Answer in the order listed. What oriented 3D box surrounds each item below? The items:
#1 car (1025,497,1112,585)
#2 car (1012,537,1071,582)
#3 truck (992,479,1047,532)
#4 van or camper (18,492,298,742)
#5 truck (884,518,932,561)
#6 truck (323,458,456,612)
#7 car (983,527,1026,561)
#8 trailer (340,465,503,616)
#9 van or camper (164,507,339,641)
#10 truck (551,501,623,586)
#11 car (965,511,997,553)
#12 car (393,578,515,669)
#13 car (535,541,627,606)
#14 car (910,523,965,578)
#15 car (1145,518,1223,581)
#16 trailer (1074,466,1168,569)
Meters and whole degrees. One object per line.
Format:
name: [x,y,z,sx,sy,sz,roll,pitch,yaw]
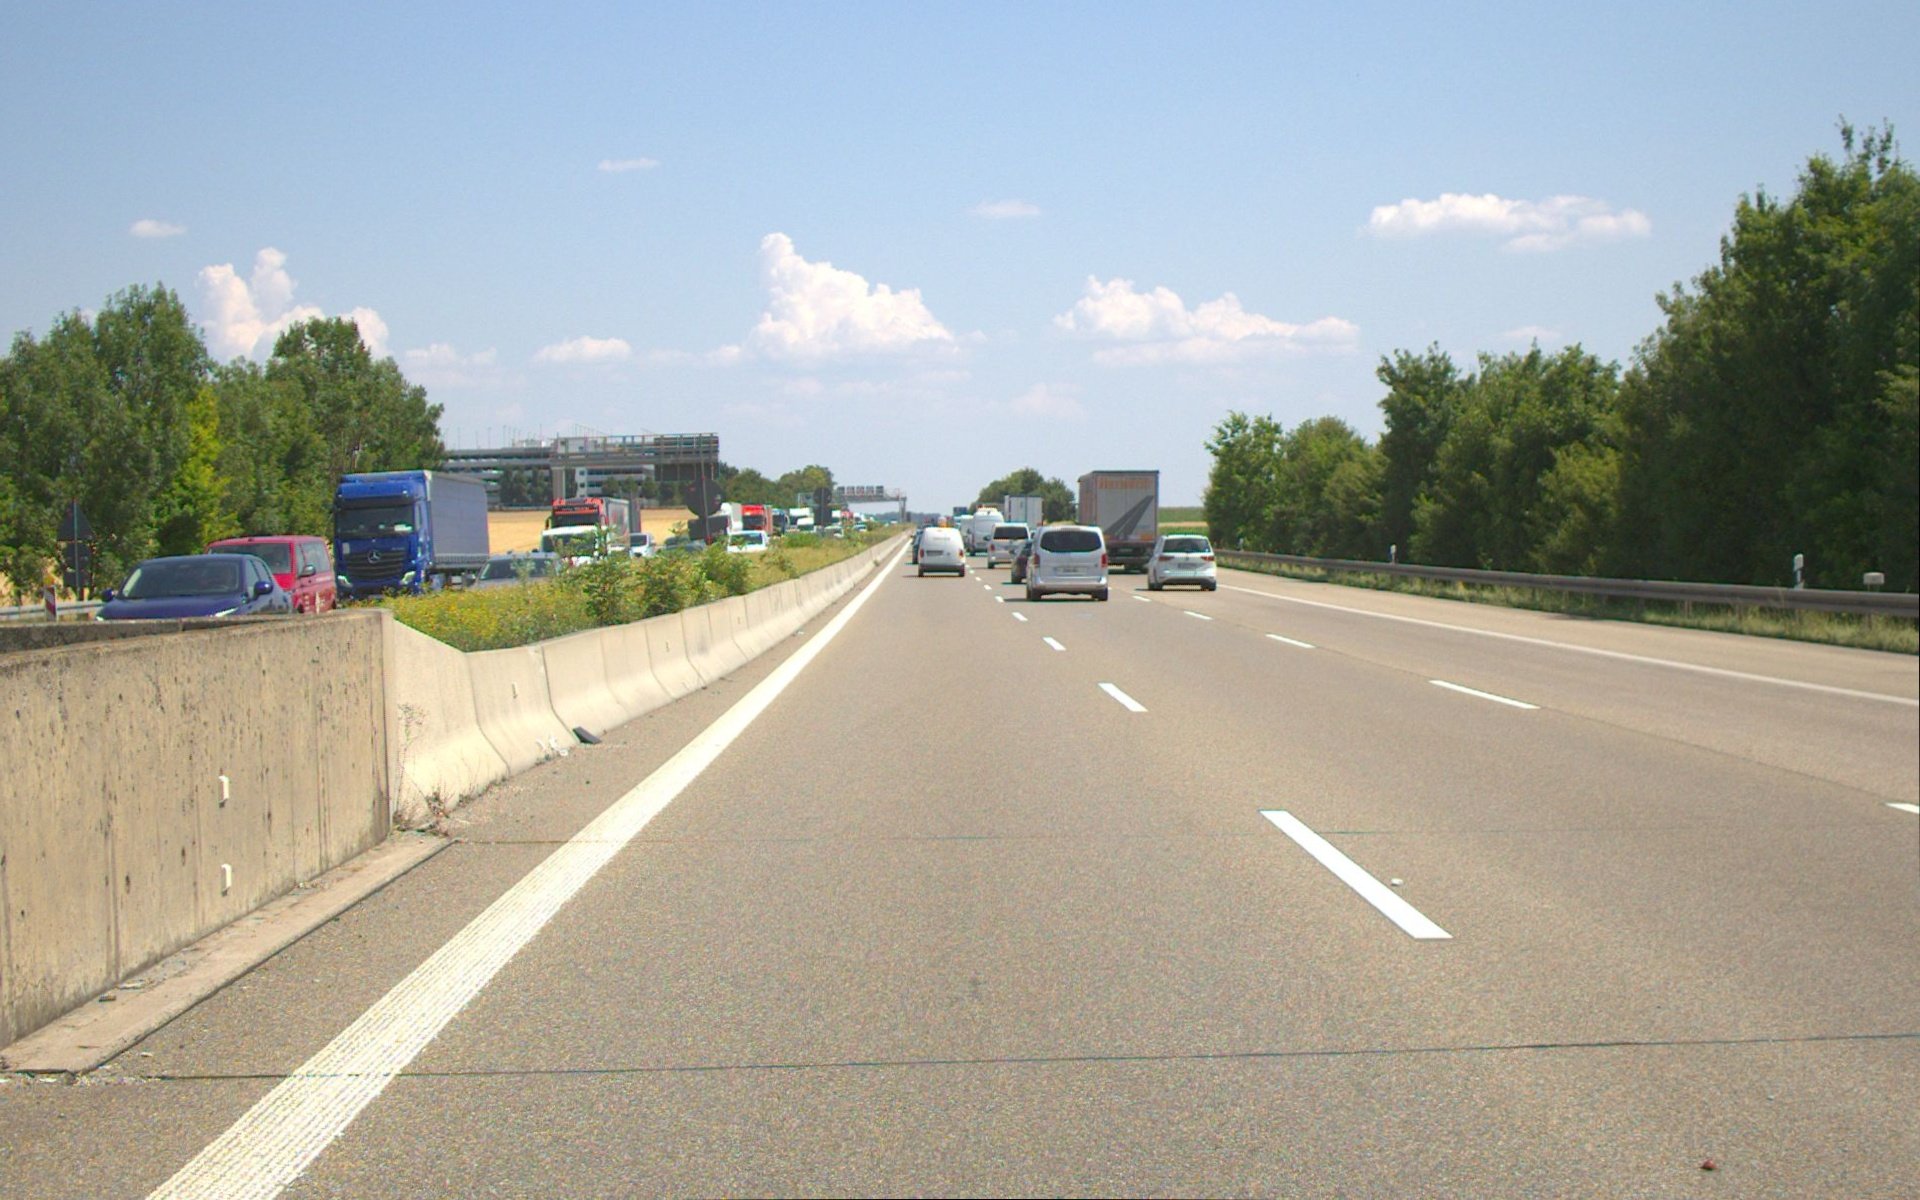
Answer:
car: [2.673,-1.444,85.770,1.993,2.112,4.000,0,0,0]
car: [2.653,-1.303,112.466,1.773,1.442,4.000,0,0,0]
truck: [4.485,-7.147,262.216,3.816,3.891,9.581,-1,1,-1]
van or camper: [-8.995,0.147,38.955,2.148,2.619,4.398,-1,1,-1]
truck: [-2.552,-2.947,167.506,2.211,2.007,4.972,-1,1,-1]
truck: [-16.669,-1.909,100.794,2.865,4.335,5.586,-2,1,0]
car: [1.920,-2.433,150.237,1.773,1.442,4.000,0,0,0]
trailer: [-16.720,-1.889,107.813,2.883,4.335,13.643,-2,1,0]
van or camper: [-12.778,-0.512,62.312,2.093,2.266,5.494,-1,1,-1]
truck: [-17.514,-2.648,161.478,2.856,3.842,4.000,-2,1,-1]
car: [1.206,-3.985,201.203,1.773,2.384,4.000,0,0,0]
car: [-9.608,0.418,65.540,1.684,1.561,4.563,-2,1,-1]
car: [-12.472,-0.904,113.457,2.185,2.007,5.763,-2,1,2]
car: [-0.840,-1.835,128.543,1.993,2.007,4.000,0,0,0]
car: [6.521,-1.446,100.488,1.993,1.788,4.000,0,0,0]
trailer: [6.411,-3.250,138.144,3.277,3.953,9.113,0,0,0]
